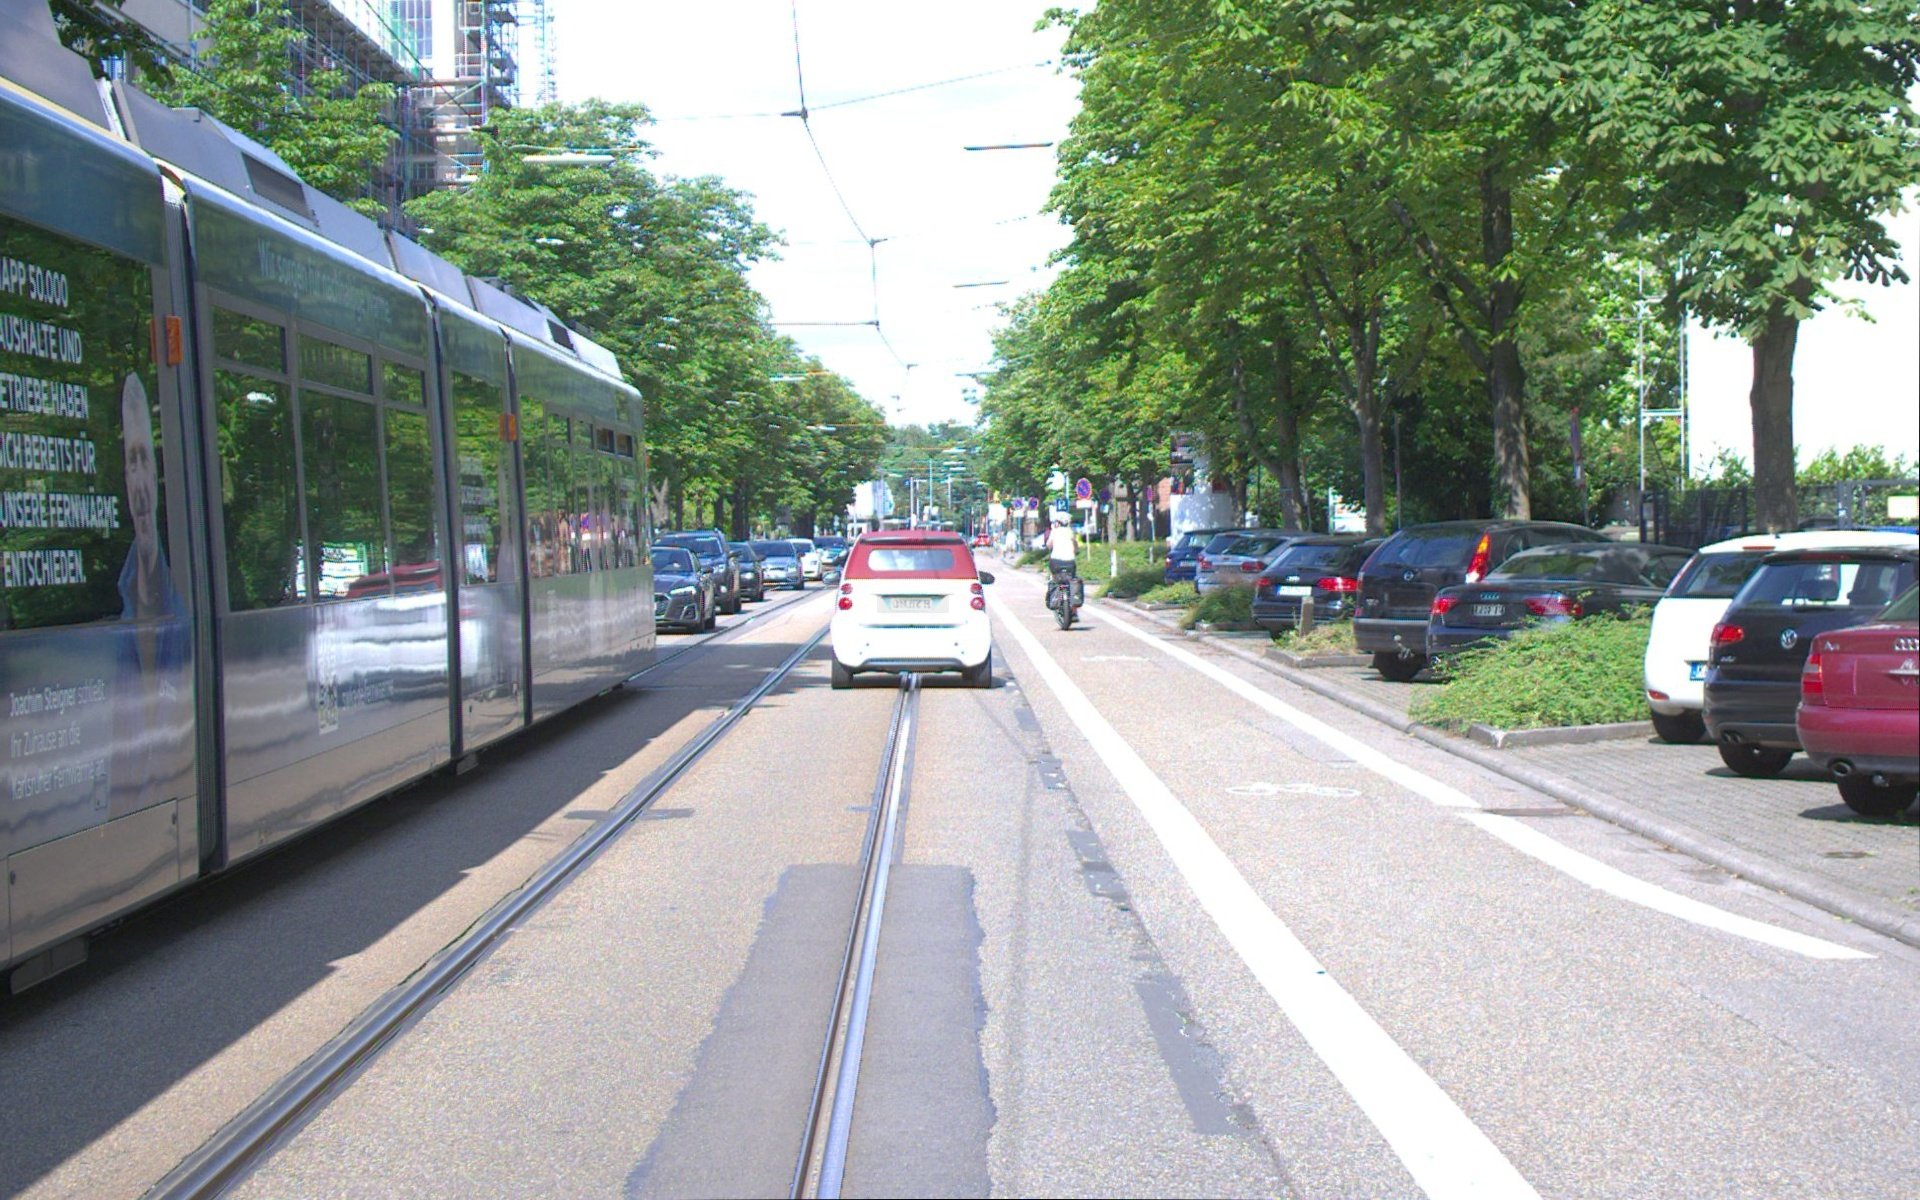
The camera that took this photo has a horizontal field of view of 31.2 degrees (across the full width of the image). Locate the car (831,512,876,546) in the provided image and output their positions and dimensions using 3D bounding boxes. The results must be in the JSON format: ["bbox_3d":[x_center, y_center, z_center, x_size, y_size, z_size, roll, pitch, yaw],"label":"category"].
[{"bbox_3d":[-4.785,-3.190,154.680,1.800,1.503,4.536,0,1,1],"label":"car"}]

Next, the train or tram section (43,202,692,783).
[{"bbox_3d":[-4.083,-0.762,27.566,2.652,3.344,14.109,-3,1,0],"label":"train or tram section"}]

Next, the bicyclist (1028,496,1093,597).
[{"bbox_3d":[1.552,-0.822,52.789,0.890,1.523,1.085,1,1,6],"label":"bicyclist"}]

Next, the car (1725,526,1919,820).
[{"bbox_3d":[6.078,0.297,18.286,4.149,1.418,1.866,-2,2,-43],"label":"car"}]

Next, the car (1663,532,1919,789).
[{"bbox_3d":[6.281,0.299,21.460,3.989,1.443,1.698,-1,2,-43],"label":"car"}]

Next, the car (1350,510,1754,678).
[{"bbox_3d":[5.976,-0.087,34.499,3.989,1.569,1.904,0,2,-42],"label":"car"}]

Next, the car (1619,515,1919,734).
[{"bbox_3d":[6.535,0.113,24.847,1.535,1.456,3.990,1,2,44],"label":"car"}]

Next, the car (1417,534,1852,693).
[{"bbox_3d":[6.243,0.091,31.565,4.164,1.344,1.904,-1,2,-45],"label":"car"}]

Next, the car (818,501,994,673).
[{"bbox_3d":[-0.525,-0.177,34.726,1.665,1.619,3.621,1,2,0],"label":"car"}]

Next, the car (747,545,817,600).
[{"bbox_3d":[-5.025,-0.789,97.296,1.773,1.411,3.852,-3,1,-1],"label":"car"}]

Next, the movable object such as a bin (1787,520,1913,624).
[{"bbox_3d":[11.456,-0.368,44.293,1.275,1.314,1.326,0,1,0],"label":"movable object such as a bin"}]

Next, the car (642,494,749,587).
[{"bbox_3d":[-5.123,-1.163,67.025,1.825,1.721,4.392,1,1,-1],"label":"car"}]

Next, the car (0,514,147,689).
[{"bbox_3d":[-9.706,-0.036,35.128,1.750,1.659,4.721,1,1,-1],"label":"car"}]

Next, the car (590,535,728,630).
[{"bbox_3d":[-4.700,-0.306,54.143,1.799,1.383,4.426,-1,1,-1],"label":"car"}]

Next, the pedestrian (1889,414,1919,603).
[{"bbox_3d":[9.805,-0.920,34.505,0.761,1.867,1.002,0,1,5],"label":"pedestrian"}]

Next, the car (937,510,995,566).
[{"bbox_3d":[0.172,-1.866,102.349,1.665,1.619,3.621,0,1,-1],"label":"car"}]

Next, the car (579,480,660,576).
[{"bbox_3d":[-9.671,-2.043,97.964,1.769,2.630,5.323,1,1,0],"label":"car"}]

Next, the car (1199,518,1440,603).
[{"bbox_3d":[6.407,-0.724,60.994,4.230,1.415,1.723,-1,3,-38],"label":"car"}]

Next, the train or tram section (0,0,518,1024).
[{"bbox_3d":[-4.039,-0.564,14.871,2.652,3.377,11.474,-3,1,0],"label":"train or tram section"}]

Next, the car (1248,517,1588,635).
[{"bbox_3d":[5.968,-0.301,44.443,2.030,1.437,4.524,2,1,45],"label":"car"}]

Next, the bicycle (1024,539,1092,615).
[{"bbox_3d":[1.514,-0.367,52.585,0.875,1.122,2.135,1,1,6],"label":"bicycle"}]

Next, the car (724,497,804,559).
[{"bbox_3d":[-4.619,-1.708,81.486,1.723,1.371,4.000,-2,1,-1],"label":"car"}]
